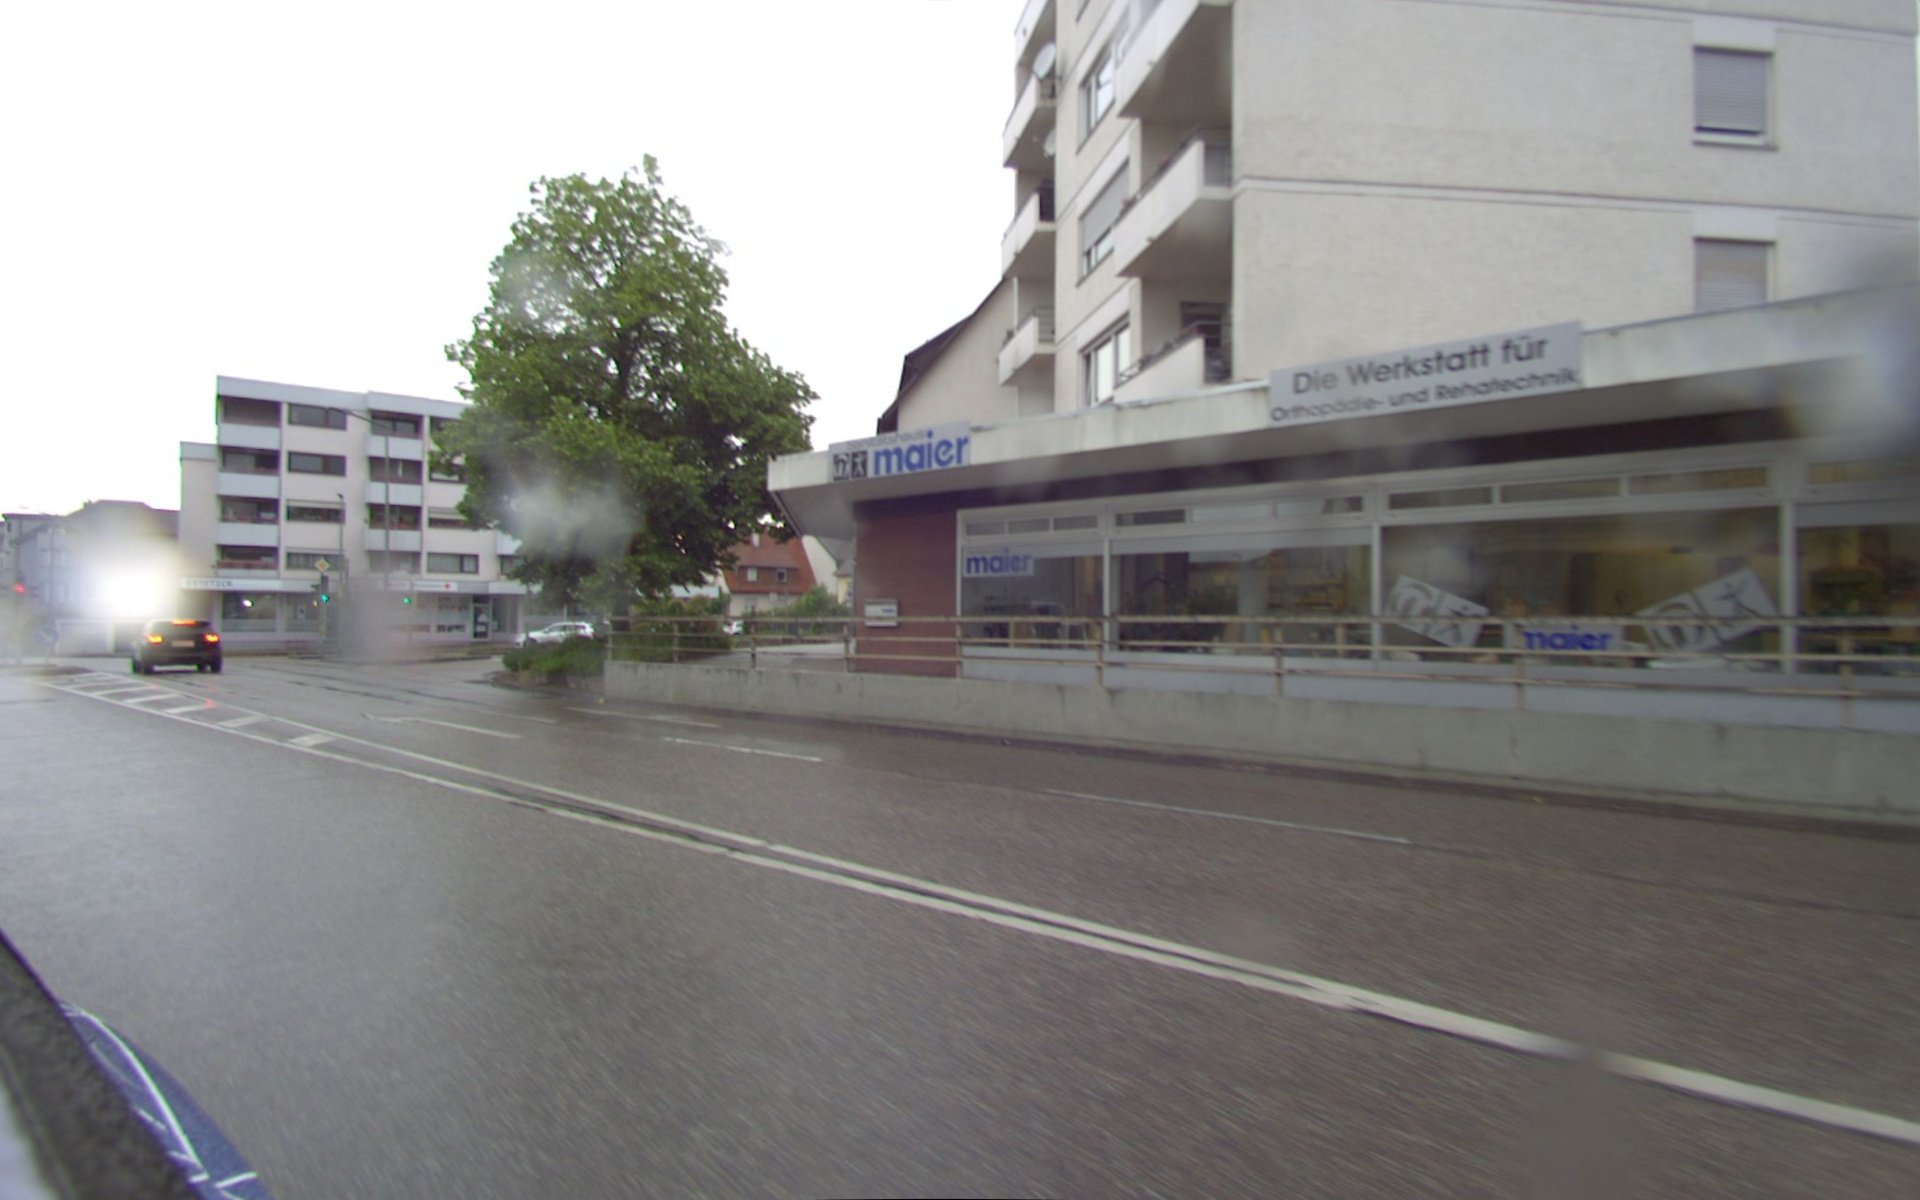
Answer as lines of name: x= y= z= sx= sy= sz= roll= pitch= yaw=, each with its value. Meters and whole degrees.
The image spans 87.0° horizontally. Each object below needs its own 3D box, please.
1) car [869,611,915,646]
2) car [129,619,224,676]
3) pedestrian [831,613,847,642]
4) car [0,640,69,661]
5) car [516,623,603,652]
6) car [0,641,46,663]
car: x=-3.102 y=1.308 z=47.084 sx=1.971 sy=1.537 sz=4.001 roll=-1 pitch=-1 yaw=-2
car: x=-23.655 y=1.420 z=30.499 sx=1.782 sy=1.569 sz=4.321 roll=0 pitch=-2 yaw=-44
pedestrian: x=-7.948 y=1.816 z=66.450 sx=0.713 sy=1.872 sz=0.851 roll=0 pitch=-2 yaw=-36
car: x=-71.825 y=3.868 z=77.987 sx=1.930 sy=1.508 sz=4.560 roll=-3 pitch=-3 yaw=44
car: x=-21.337 y=2.004 z=54.082 sx=4.214 sy=1.445 sz=1.840 roll=-1 pitch=-2 yaw=-17
car: x=-76.164 y=4.156 z=79.976 sx=5.385 sy=1.697 sz=2.155 roll=0 pitch=-2 yaw=-26
